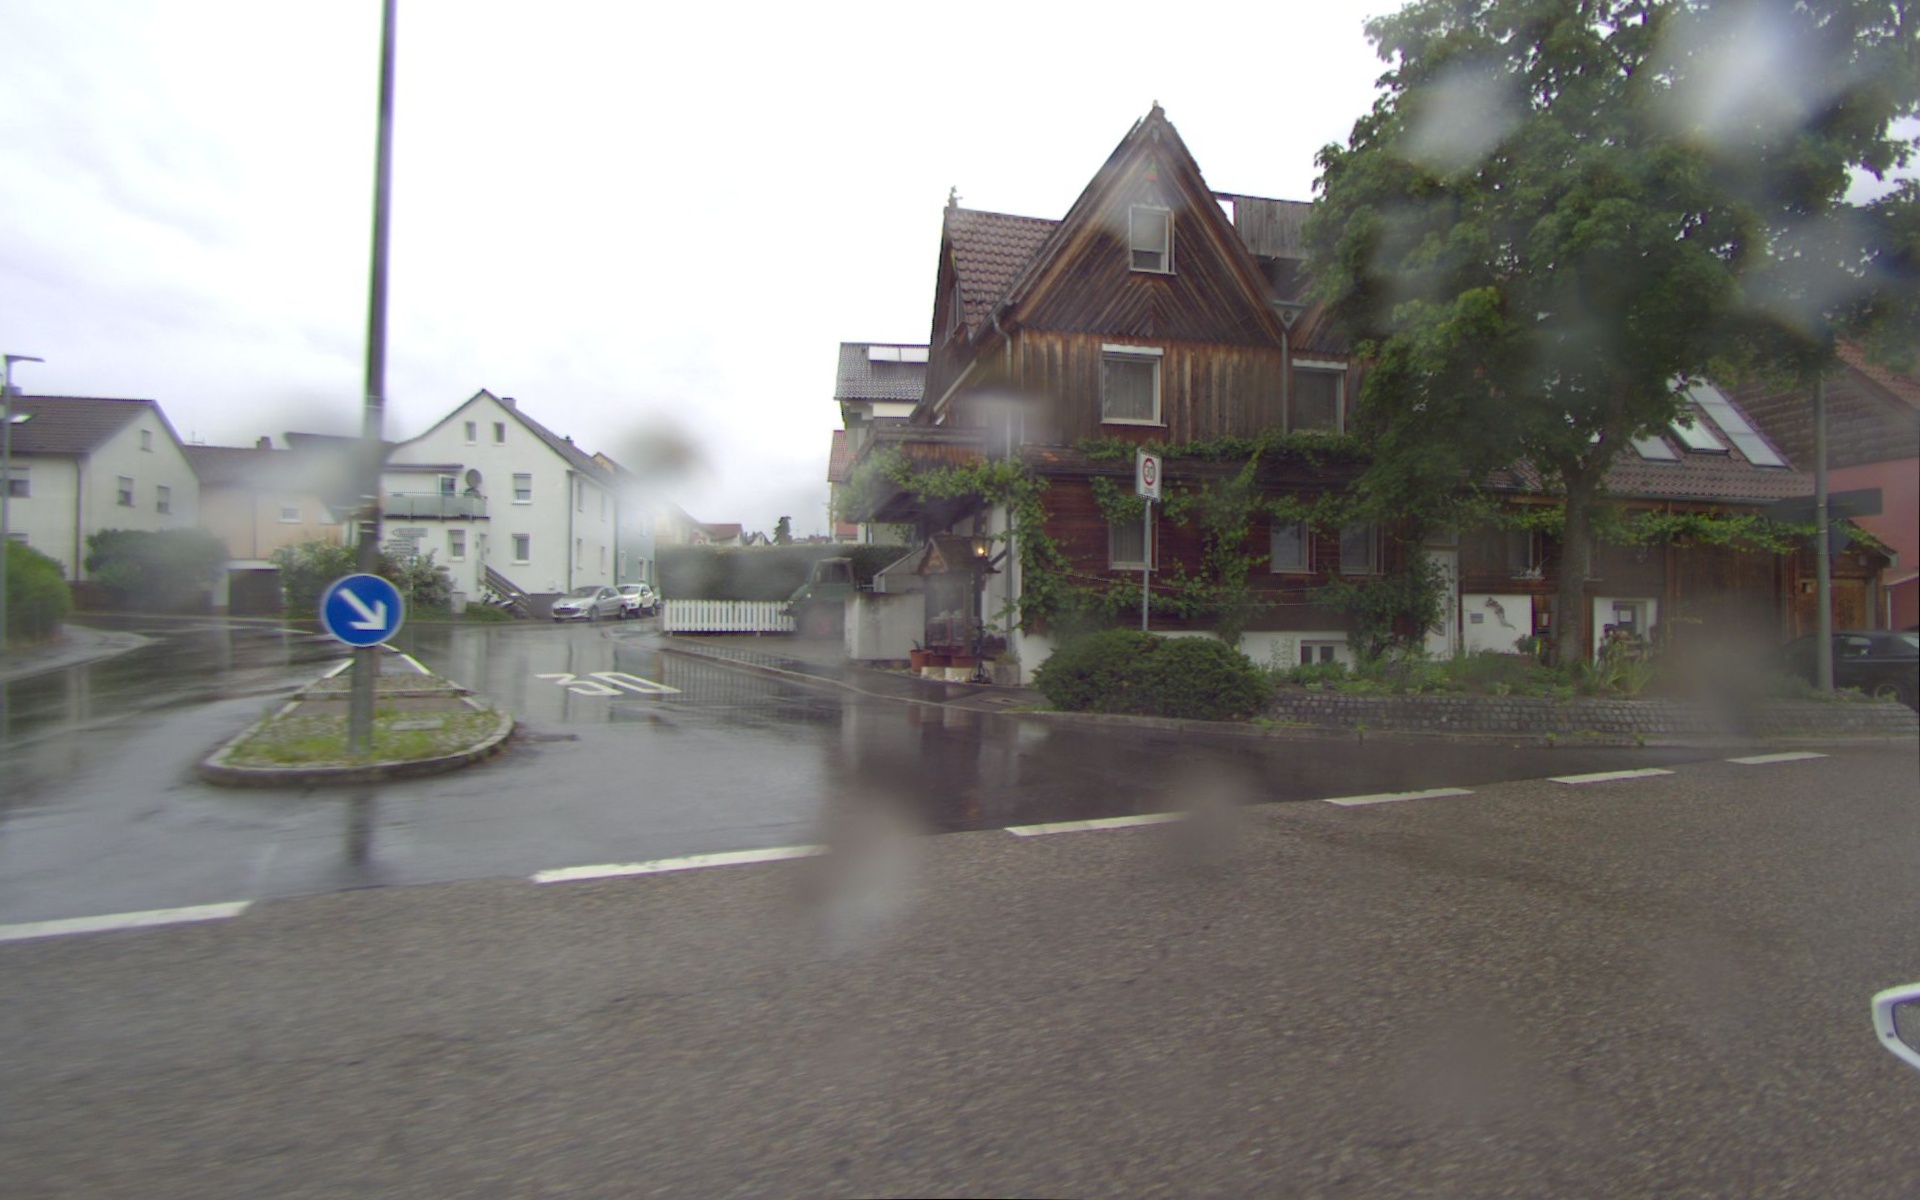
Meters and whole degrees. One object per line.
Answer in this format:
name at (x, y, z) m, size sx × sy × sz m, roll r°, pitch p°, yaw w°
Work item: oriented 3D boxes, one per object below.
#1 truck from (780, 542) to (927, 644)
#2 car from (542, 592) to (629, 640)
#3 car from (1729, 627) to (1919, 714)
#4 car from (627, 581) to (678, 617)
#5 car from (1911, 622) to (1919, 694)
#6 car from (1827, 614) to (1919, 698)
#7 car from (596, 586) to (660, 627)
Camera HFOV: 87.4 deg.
truck at (-2.960, -0.139, 27.741) m, size 3.781 × 2.647 × 1.776 m, roll 2°, pitch -2°, yaw -15°
car at (-16.199, 0.642, 43.634) m, size 1.960 × 1.759 × 4.001 m, roll 1°, pitch 3°, yaw 6°
car at (16.319, 1.232, 18.279) m, size 1.605 × 1.437 × 3.448 m, roll 1°, pitch -2°, yaw -14°
car at (-16.595, -0.078, 54.330) m, size 1.838 × 1.759 × 3.836 m, roll 0°, pitch 3°, yaw -5°
car at (21.211, 1.236, 19.655) m, size 1.564 × 1.498 × 3.462 m, roll 2°, pitch 0°, yaw -14°
car at (19.016, 1.101, 18.978) m, size 1.823 × 1.526 × 3.578 m, roll 1°, pitch 1°, yaw -12°
car at (-16.028, 0.270, 48.703) m, size 1.961 × 1.759 × 3.997 m, roll 0°, pitch 3°, yaw -3°
